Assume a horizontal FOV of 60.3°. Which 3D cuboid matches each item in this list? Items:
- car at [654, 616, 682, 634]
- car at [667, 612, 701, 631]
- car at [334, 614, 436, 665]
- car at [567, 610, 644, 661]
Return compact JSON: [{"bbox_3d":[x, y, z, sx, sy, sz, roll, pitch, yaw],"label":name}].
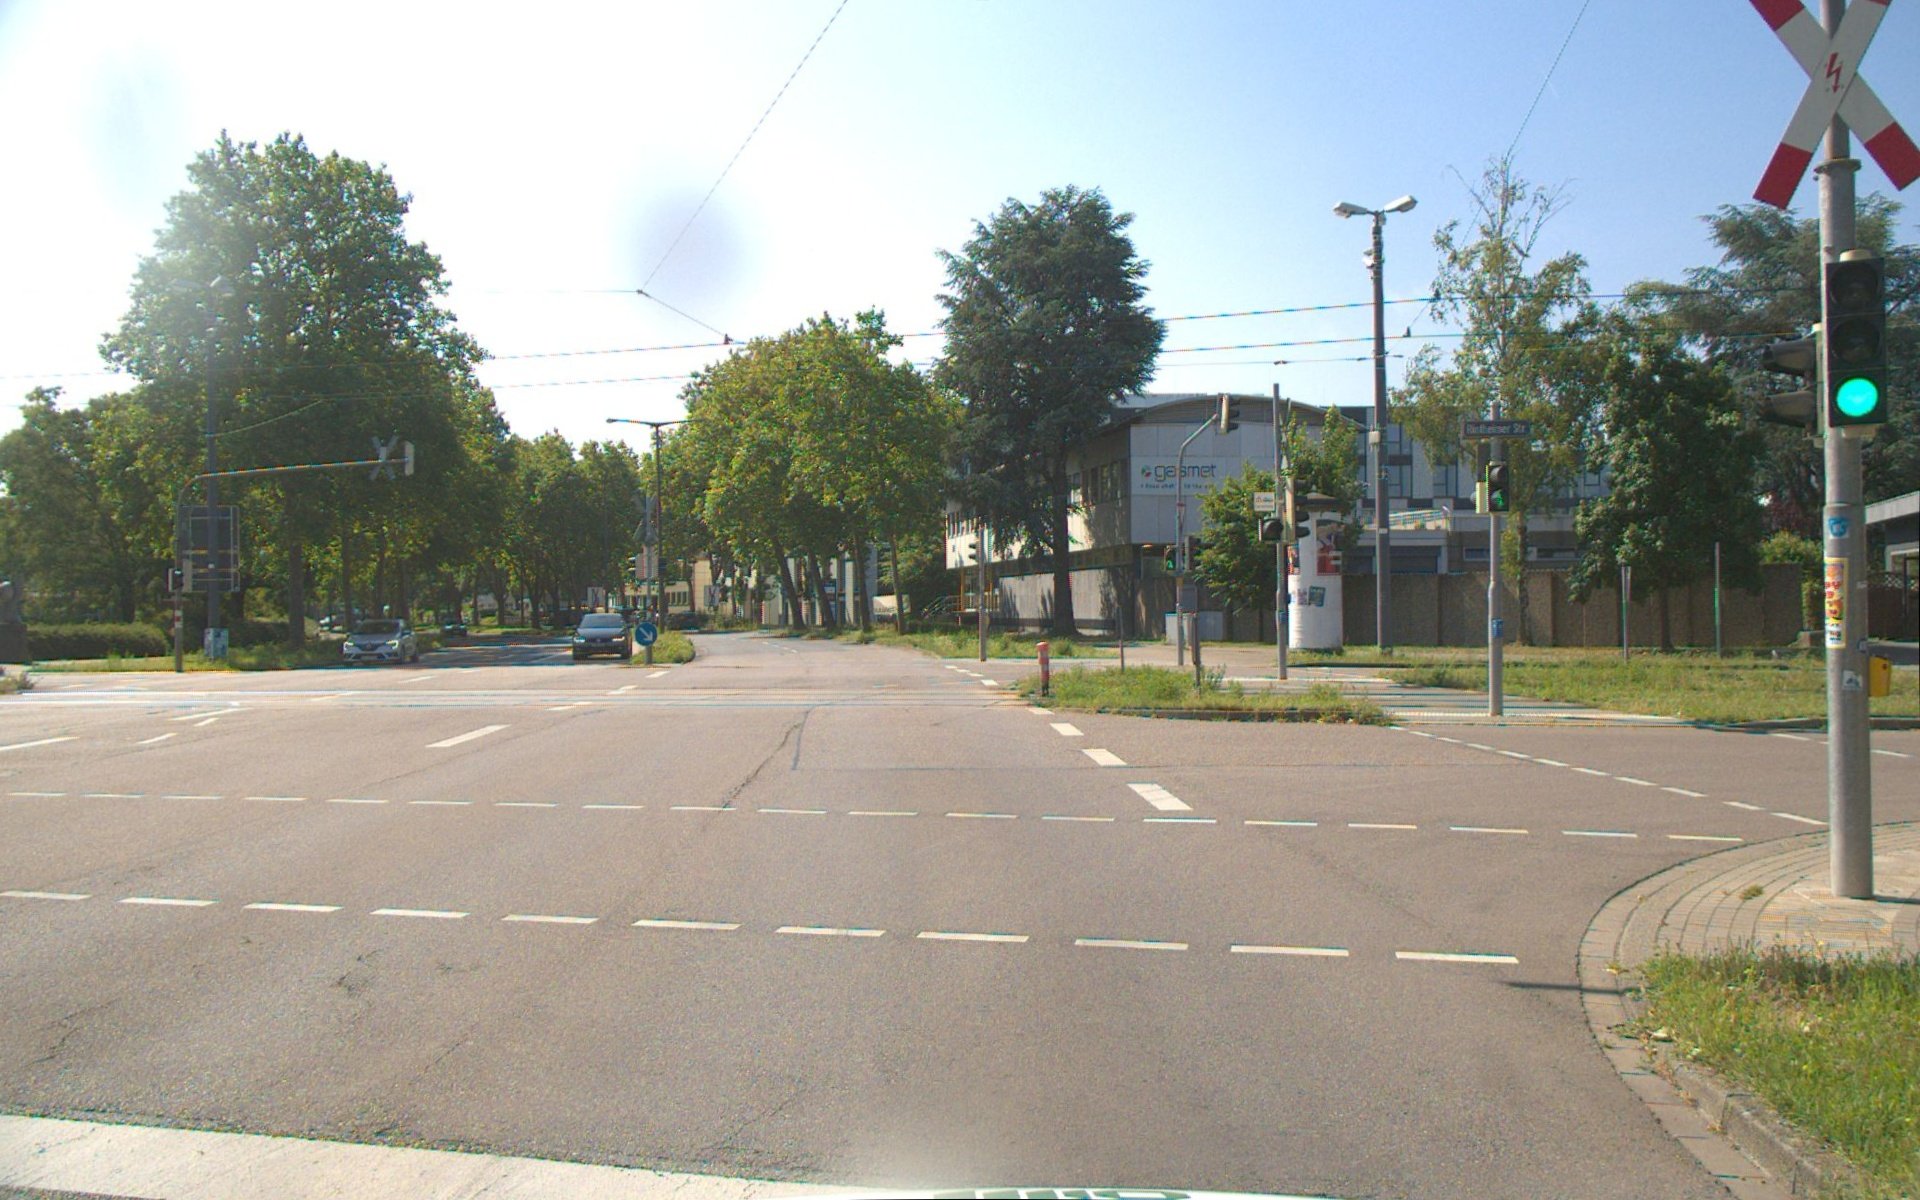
[{"bbox_3d":[-26.193,2.207,148.235,1.682,1.514,4.075,-1,0,-21],"label":"car"},{"bbox_3d":[-23.929,1.860,143.159,1.685,1.513,4.681,-2,0,-25],"label":"car"},{"bbox_3d":[-18.531,1.236,53.499,1.659,1.534,4.660,-1,0,0],"label":"car"},{"bbox_3d":[-11.407,1.116,53.446,1.659,1.534,4.128,-1,0,-1],"label":"car"}]
